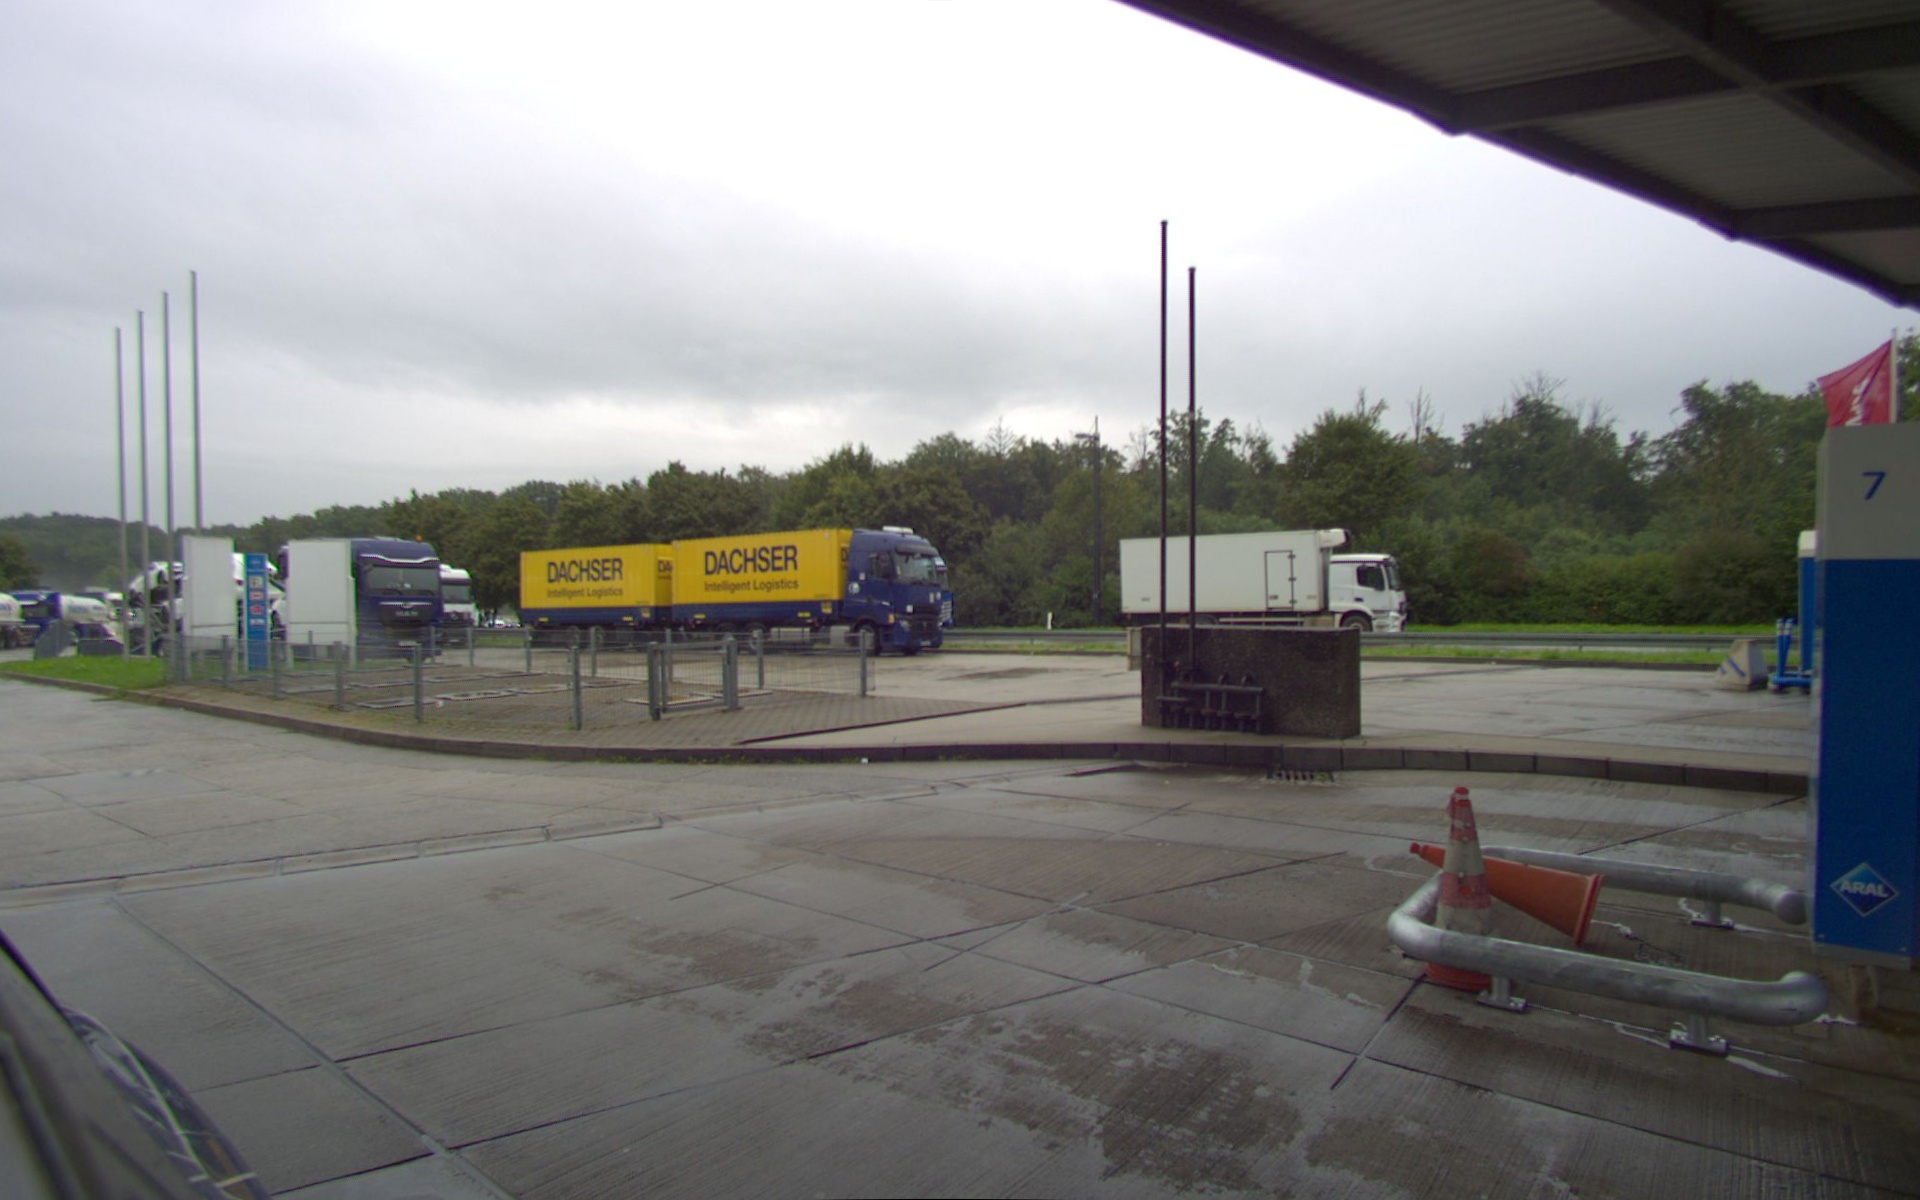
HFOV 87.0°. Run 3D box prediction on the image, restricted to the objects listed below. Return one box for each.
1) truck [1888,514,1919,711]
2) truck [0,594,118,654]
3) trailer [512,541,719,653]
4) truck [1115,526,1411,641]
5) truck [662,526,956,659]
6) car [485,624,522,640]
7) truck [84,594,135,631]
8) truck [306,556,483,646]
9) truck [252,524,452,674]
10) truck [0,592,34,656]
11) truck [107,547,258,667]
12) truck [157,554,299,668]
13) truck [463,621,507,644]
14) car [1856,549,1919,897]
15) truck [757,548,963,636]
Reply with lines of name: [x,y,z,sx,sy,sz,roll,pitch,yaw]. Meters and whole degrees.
truck: [14.998,0.127,11.948,5.859,2.513,2.208,-1,0,41]
truck: [-61.490,1.616,68.649,3.454,3.633,14.709,-1,-1,-27]
trailer: [-13.494,-0.074,39.251,8.679,3.946,2.728,-1,0,32]
truck: [10.974,-0.514,37.442,10.195,3.836,2.395,-1,0,31]
truck: [-5.332,-0.178,34.022,10.654,3.946,2.727,-1,0,33]
car: [-51.879,3.606,115.011,3.980,1.706,1.688,-1,0,28]
truck: [-125.264,1.836,148.972,11.498,5.160,3.109,-1,0,36]
truck: [-27.314,0.102,48.621,10.654,3.946,2.727,-1,0,33]
truck: [-19.004,0.009,31.471,7.089,4.213,2.635,-1,0,35]
truck: [-55.151,1.333,53.682,3.454,3.633,14.444,-1,-1,-19]
truck: [-29.584,0.296,38.440,6.605,4.213,2.635,-1,0,35]
truck: [-26.102,0.393,36.067,4.738,3.800,2.635,-1,0,34]
truck: [-48.882,3.361,104.149,4.620,2.282,1.712,-1,0,30]
car: [6.915,0.543,3.793,5.269,1.620,1.842,-1,0,41]
truck: [-4.874,-0.313,47.637,10.195,3.836,2.395,-1,0,31]
